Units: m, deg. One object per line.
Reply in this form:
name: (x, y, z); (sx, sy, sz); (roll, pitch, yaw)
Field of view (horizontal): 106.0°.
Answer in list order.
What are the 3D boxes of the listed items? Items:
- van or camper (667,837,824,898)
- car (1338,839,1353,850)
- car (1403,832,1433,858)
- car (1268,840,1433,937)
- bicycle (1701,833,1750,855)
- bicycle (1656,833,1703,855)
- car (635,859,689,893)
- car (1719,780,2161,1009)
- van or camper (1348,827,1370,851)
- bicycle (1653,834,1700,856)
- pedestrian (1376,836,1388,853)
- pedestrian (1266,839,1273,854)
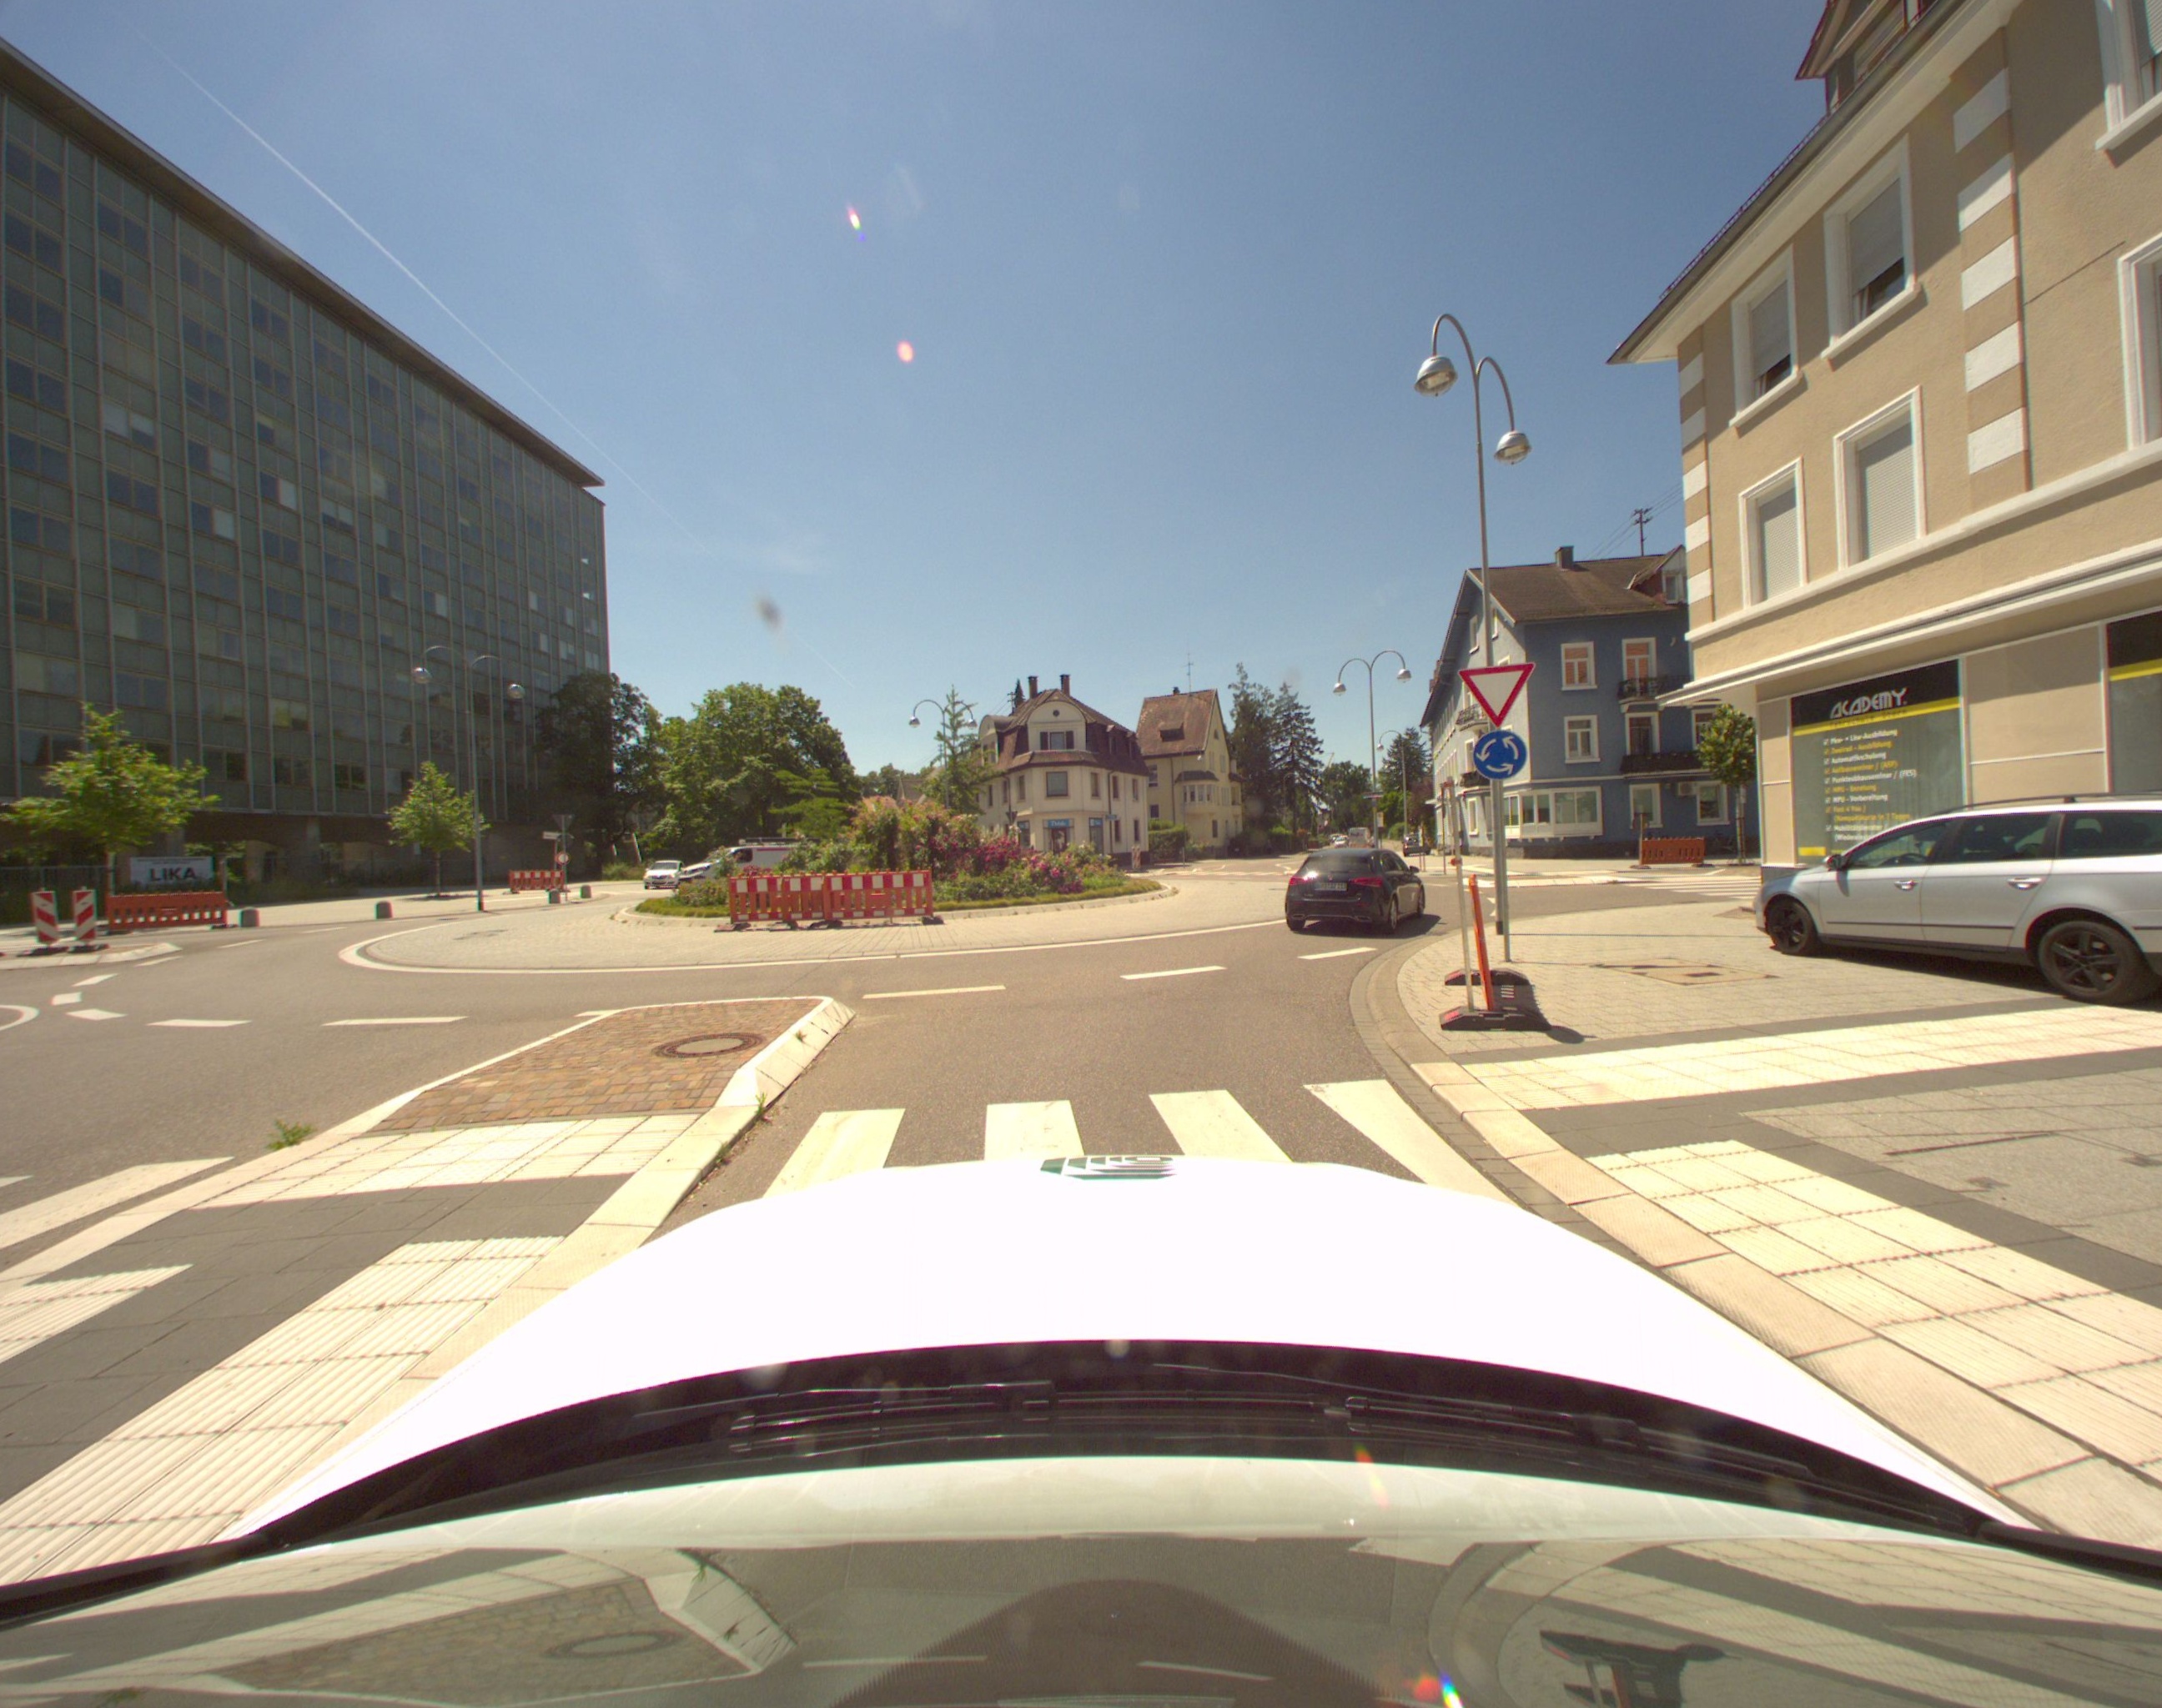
van or camper: (-13.211, 0.449, 32.387); (1.974, 2.171, 5.448); (-1, 1, 39)
car: (41.217, -1.428, 127.013); (1.976, 1.651, 4.021); (-2, 0, 21)
car: (22.566, -0.644, 54.576); (1.625, 1.507, 3.583); (-5, 0, 22)
car: (5.062, 0.515, 14.923); (1.934, 1.427, 4.026); (0, 2, 32)
bicycle: (28.915, -0.455, 36.542); (1.697, 0.906, 0.482); (-2, 2, 8)
bicycle: (27.202, -0.461, 37.026); (1.697, 0.906, 0.441); (-2, 2, 8)
car: (-22.253, 1.123, 43.416); (1.789, 1.597, 3.899); (-2, 1, -16)
car: (8.207, 0.226, 7.148); (1.756, 1.530, 4.696); (-3, 0, 5)
van or camper: (31.197, -1.651, 91.321); (2.187, 2.610, 4.020); (-2, 0, 20)
bicycle: (26.731, -0.418, 36.581); (1.697, 0.906, 0.441); (-2, 2, 8)
pedestrian: (24.278, -0.761, 65.715); (0.660, 1.286, 0.591); (-6, -1, 29)
pedestrian: (19.360, -0.803, 83.538); (0.518, 1.509, 0.476); (-2, 0, 28)
